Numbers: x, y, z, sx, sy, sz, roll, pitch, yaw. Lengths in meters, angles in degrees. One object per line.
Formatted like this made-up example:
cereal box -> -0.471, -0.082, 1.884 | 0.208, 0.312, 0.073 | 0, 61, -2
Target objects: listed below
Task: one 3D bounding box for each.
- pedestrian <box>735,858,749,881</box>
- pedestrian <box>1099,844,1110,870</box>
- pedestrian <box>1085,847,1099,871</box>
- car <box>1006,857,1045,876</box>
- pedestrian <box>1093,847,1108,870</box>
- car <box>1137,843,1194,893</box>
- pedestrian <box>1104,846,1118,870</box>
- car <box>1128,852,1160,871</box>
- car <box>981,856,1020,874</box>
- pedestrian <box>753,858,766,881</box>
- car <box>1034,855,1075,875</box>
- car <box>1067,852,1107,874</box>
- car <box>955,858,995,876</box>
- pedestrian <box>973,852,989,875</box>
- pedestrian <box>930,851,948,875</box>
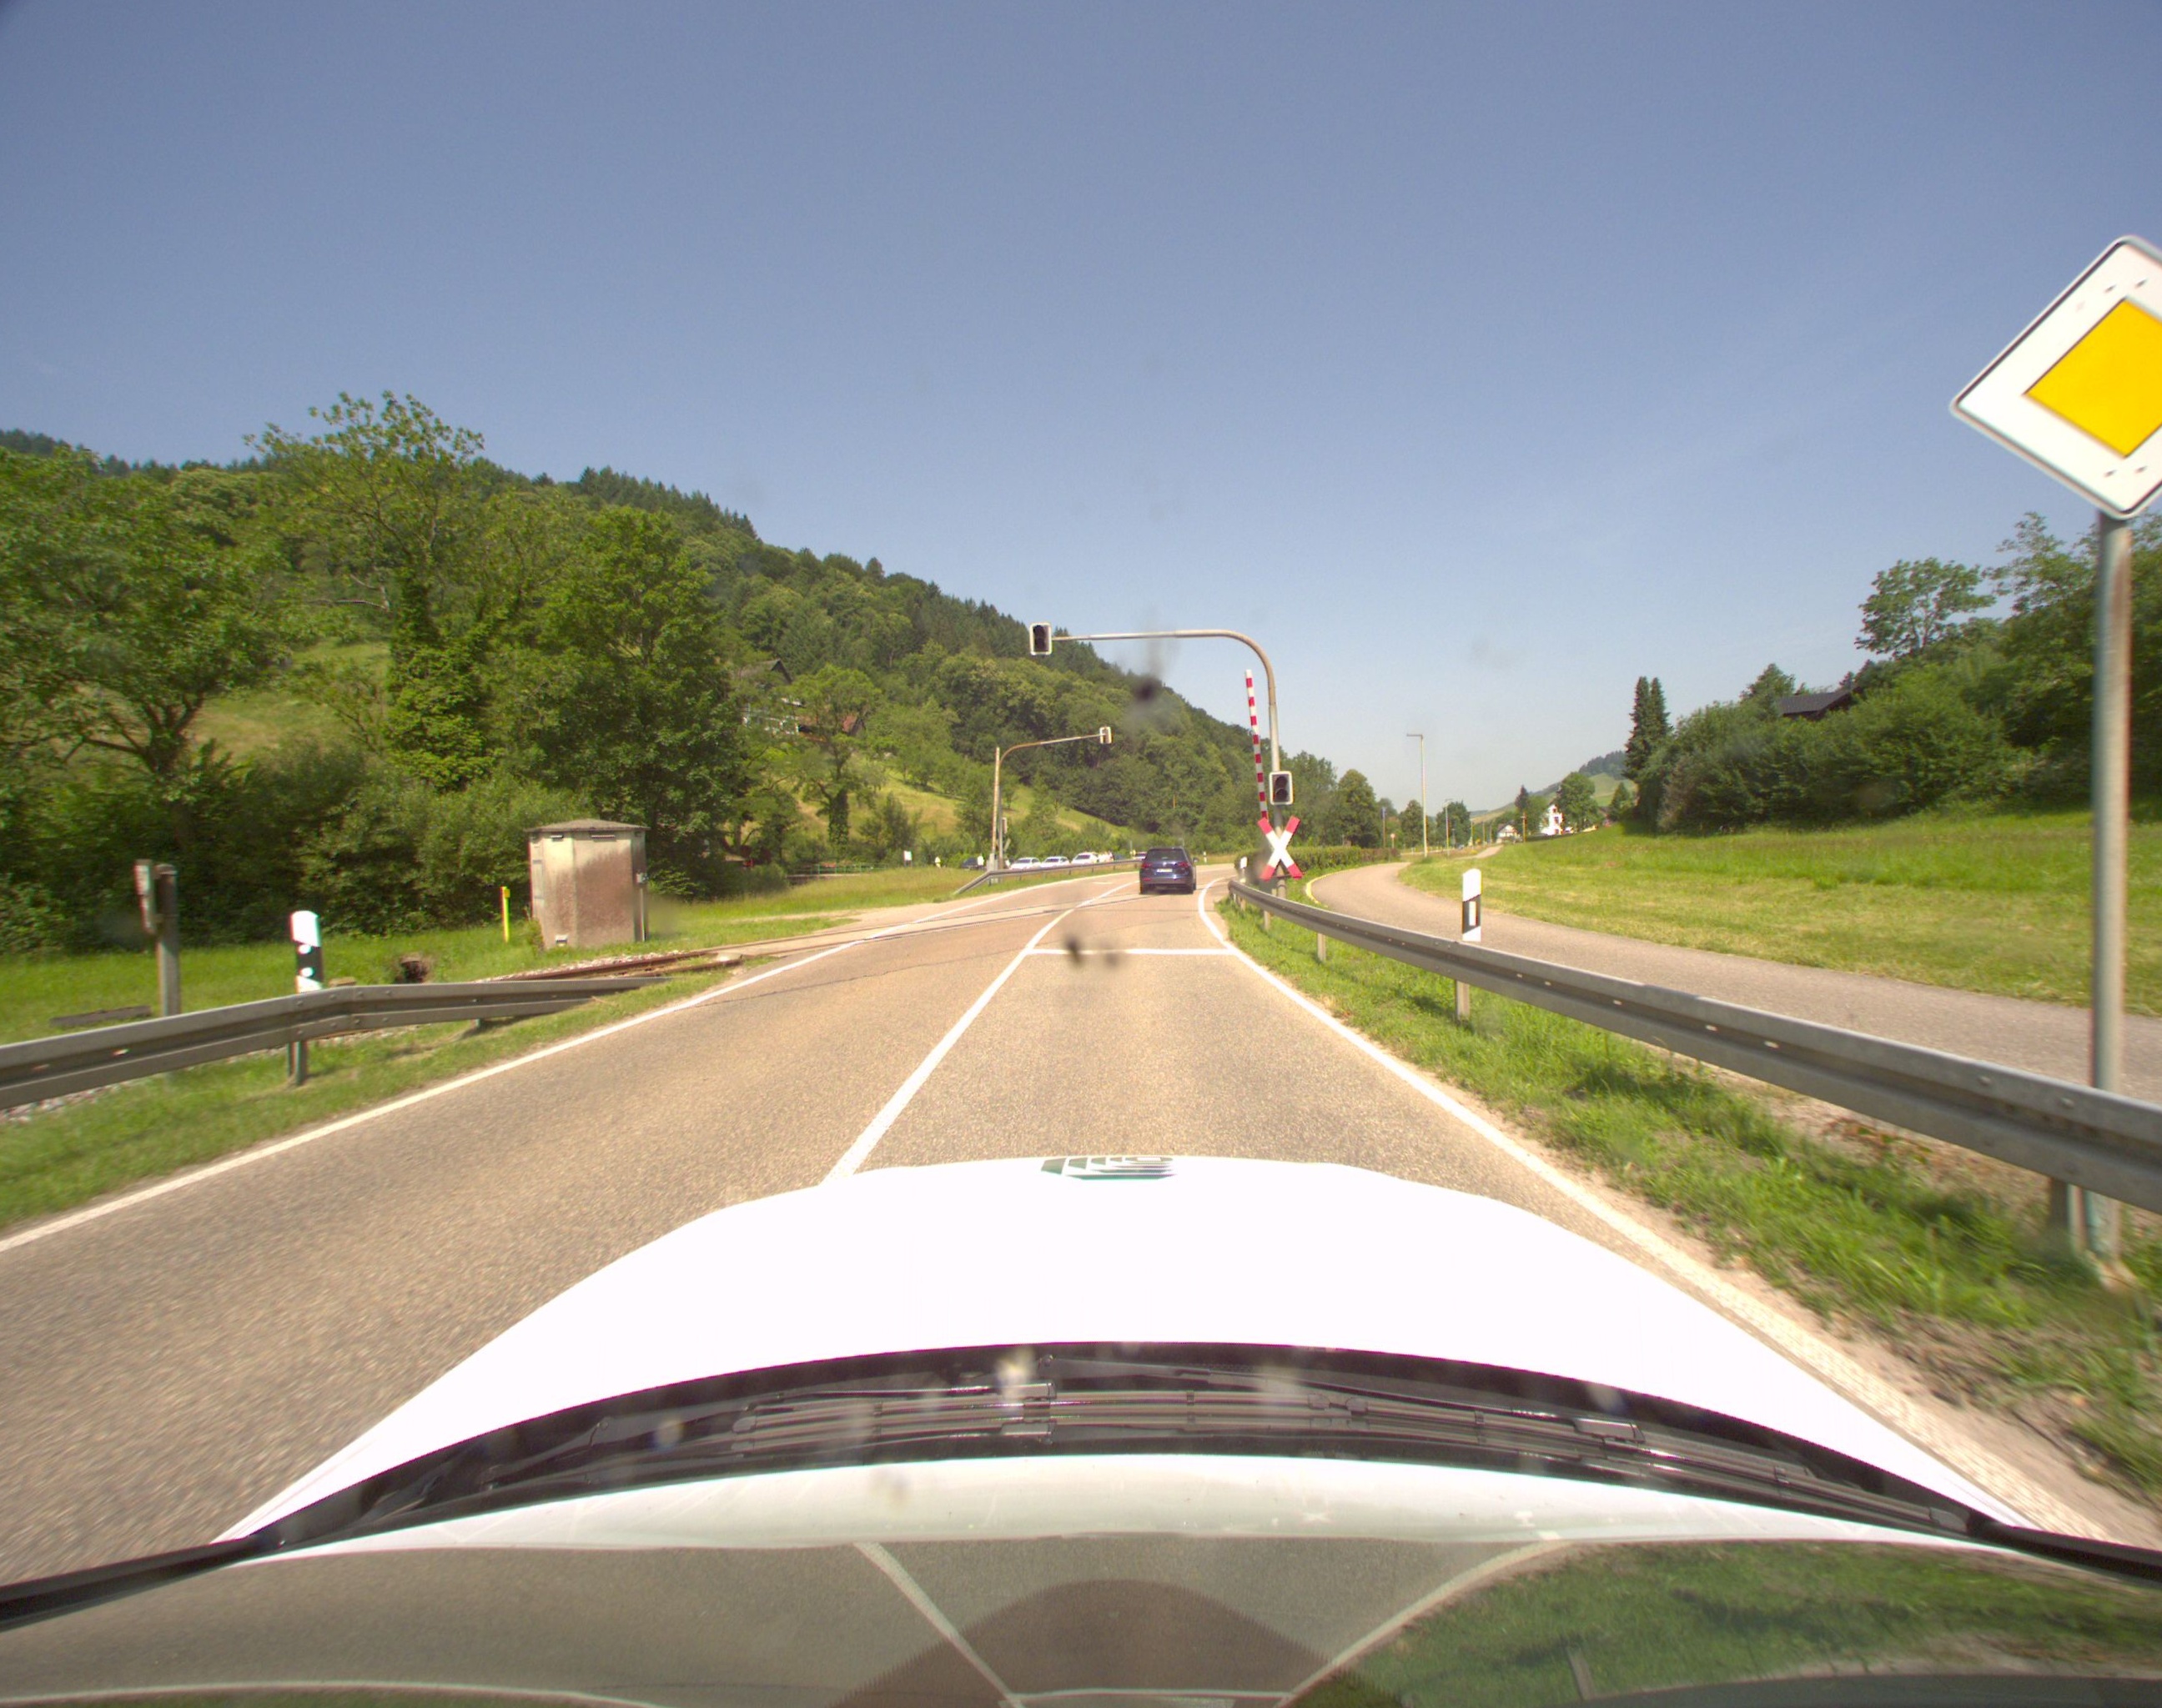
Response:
pedestrian -> -30.276, 1.395, 72.737 | 0.693, 2.014, 0.937 | -3, -1, 19
pedestrian -> 1.835, 0.229, 64.169 | 0.656, 1.955, 0.534 | -3, -1, 8
pedestrian -> 0.864, 0.372, 64.112 | 0.780, 1.842, 0.703 | -2, 0, 29
car -> -4.942, 1.117, 72.729 | 1.978, 1.500, 4.541 | -3, -1, 16
pedestrian -> 1.562, 0.355, 64.972 | 0.761, 1.796, 0.798 | -4, -1, 45
car -> 3.051, 0.474, 28.915 | 1.842, 1.649, 4.148 | -1, 0, 7
pedestrian -> 2.364, 0.333, 64.596 | 0.775, 1.859, 0.641 | -2, -1, -38
car -> 5.365, 0.634, 69.066 | 1.812, 1.500, 4.295 | -3, -1, 16
car -> -7.248, 0.992, 73.748 | 1.978, 1.500, 4.541 | -1, 0, 16
pedestrian -> -29.159, 1.384, 73.815 | 0.935, 2.014, 0.694 | -2, -1, -30
car -> -2.276, 0.934, 72.383 | 1.977, 1.641, 4.925 | -3, -1, 18
car -> 0.571, 0.783, 72.074 | 1.855, 1.782, 4.797 | -2, 0, 21
car -> -9.637, 1.170, 74.393 | 1.978, 1.500, 4.541 | -3, -1, 16
pedestrian -> -8.235, 0.784, 67.257 | 0.947, 1.794, 1.004 | -3, -1, 14
pedestrian -> -12.101, 0.778, 69.426 | 1.115, 1.969, 0.867 | -2, 0, 33
